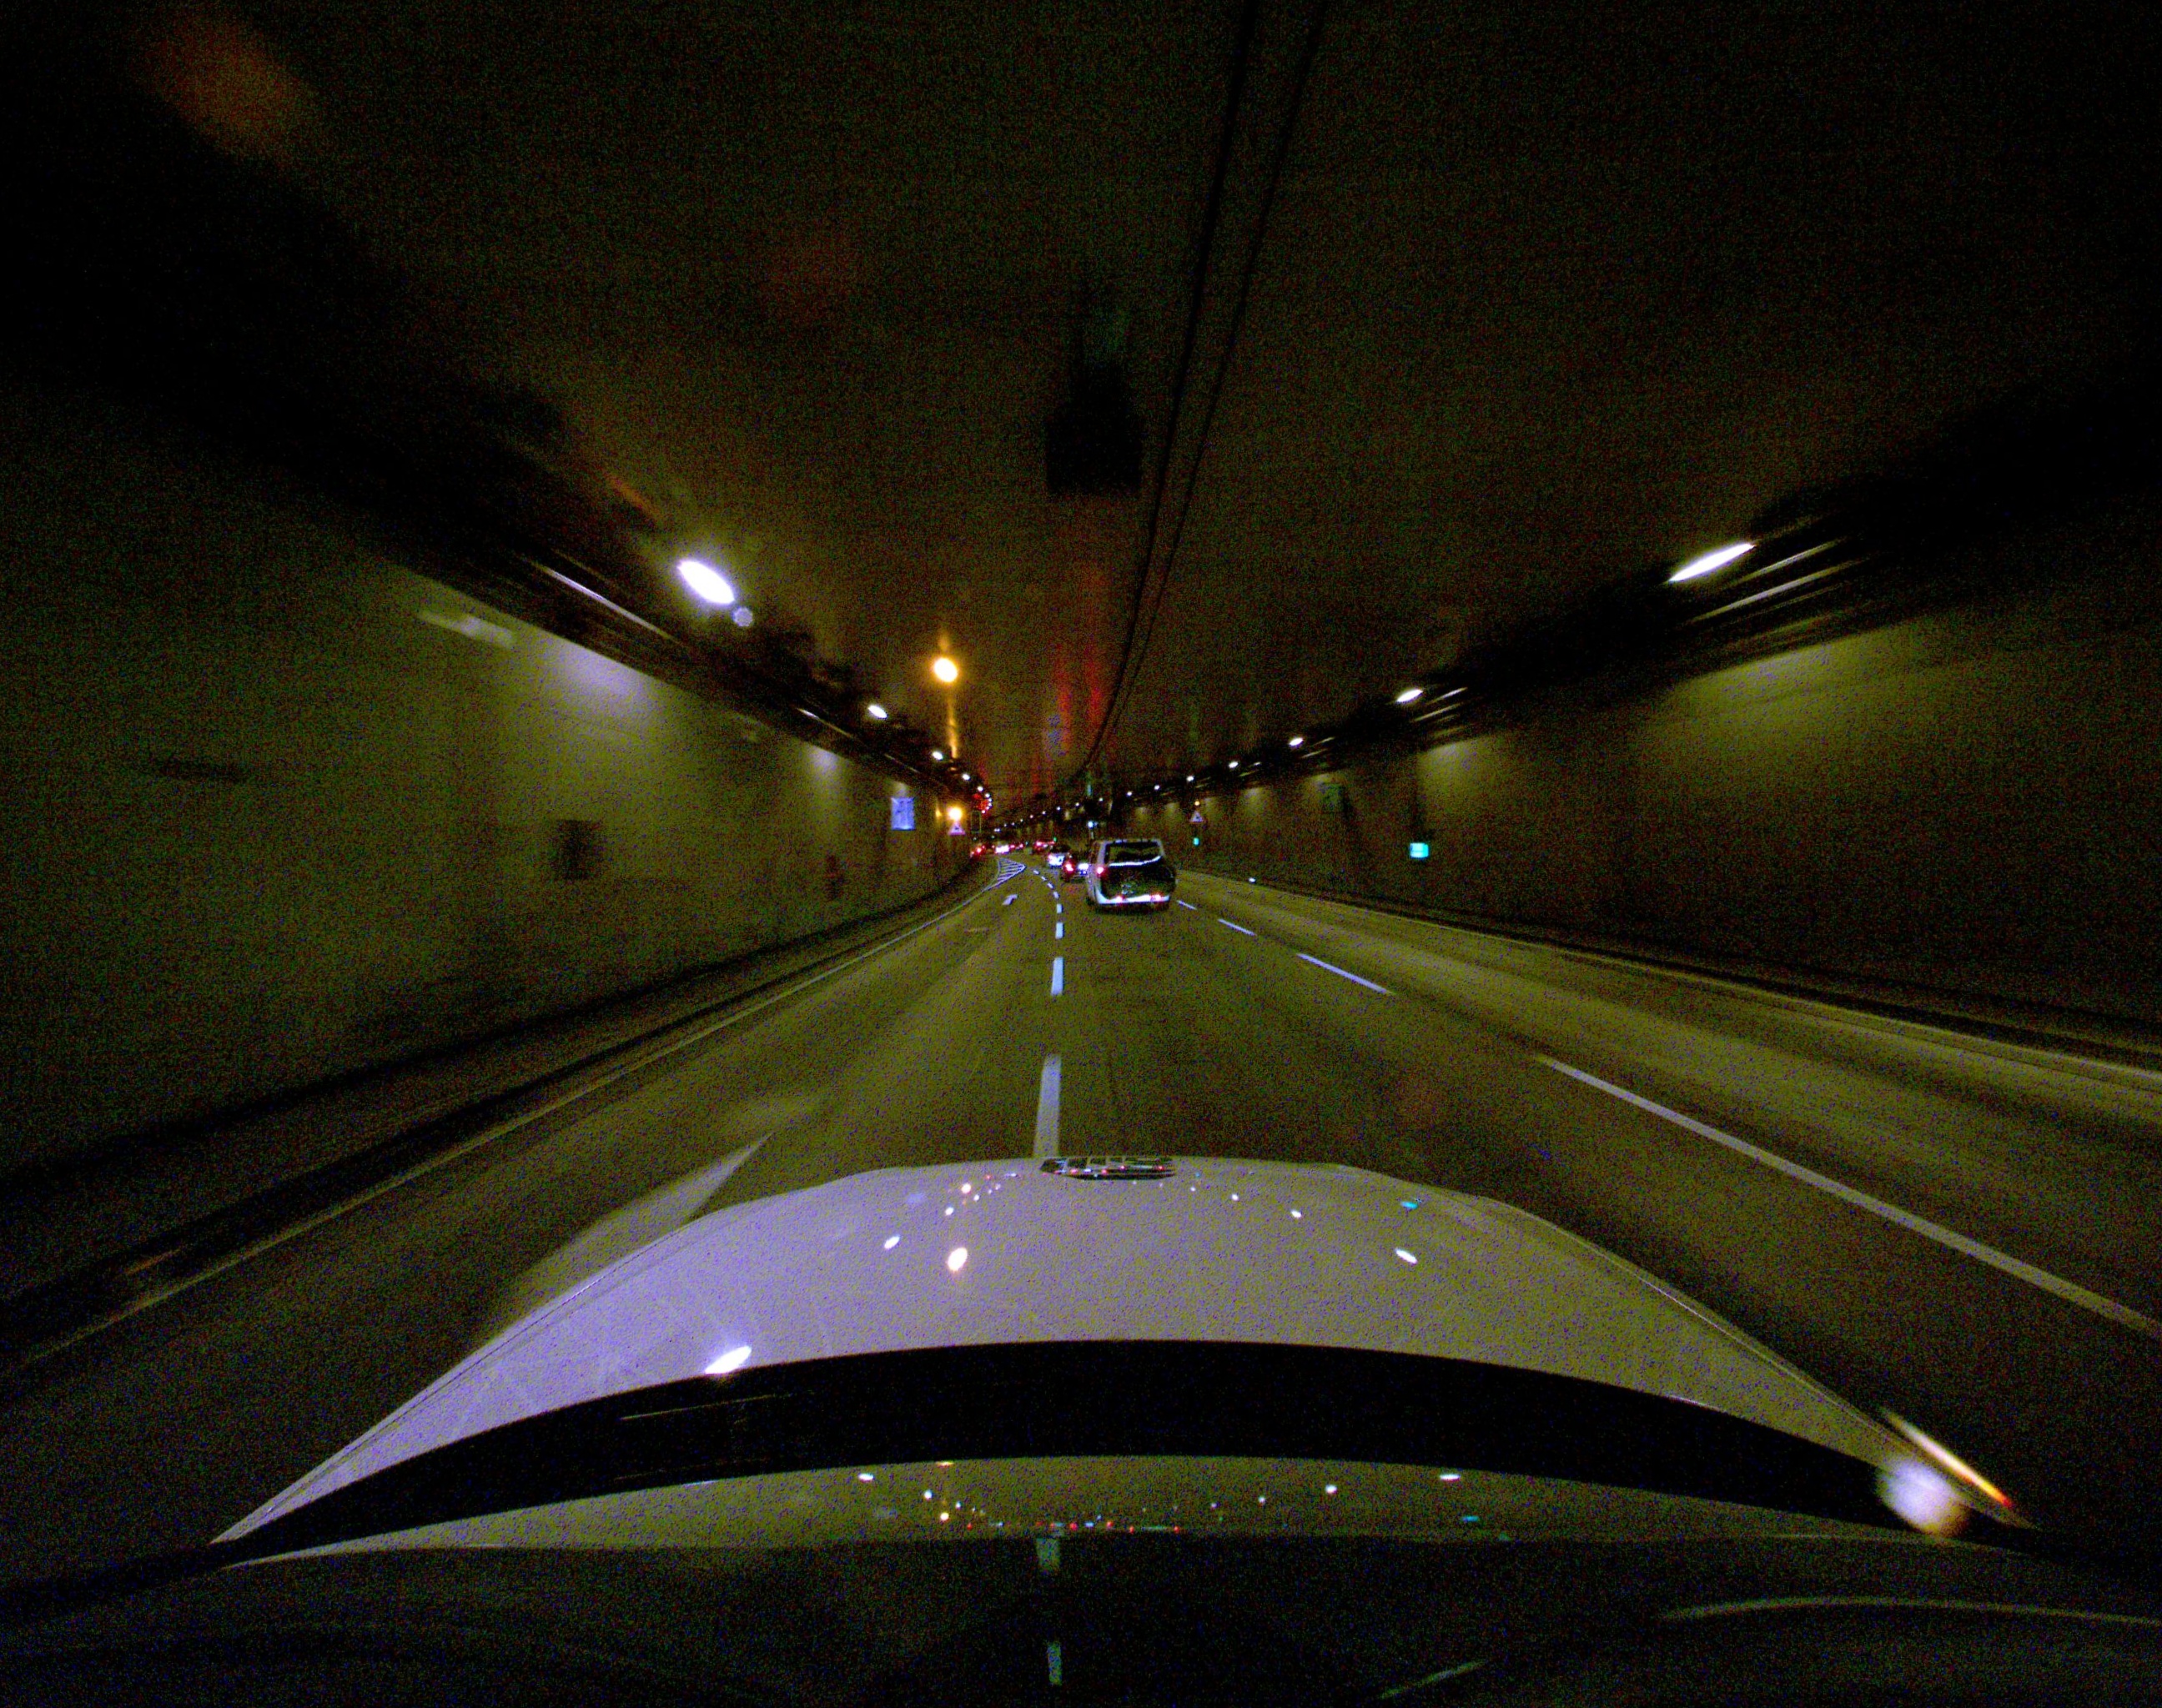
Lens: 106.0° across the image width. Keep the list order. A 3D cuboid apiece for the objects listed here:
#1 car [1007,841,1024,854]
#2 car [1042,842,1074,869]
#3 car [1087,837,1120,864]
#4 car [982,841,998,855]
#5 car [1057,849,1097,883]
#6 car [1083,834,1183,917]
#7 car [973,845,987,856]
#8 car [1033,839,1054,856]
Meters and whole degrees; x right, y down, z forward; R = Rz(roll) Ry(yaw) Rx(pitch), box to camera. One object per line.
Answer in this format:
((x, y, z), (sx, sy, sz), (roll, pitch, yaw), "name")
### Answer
((-8.464, -0.829, 105.175), (1.823, 1.630, 3.828), (0, -1, -12), "car")
((-1.490, 0.096, 50.687), (1.602, 1.594, 3.346), (-1, 0, -9), "car")
((1.495, -0.195, 55.961), (1.869, 1.761, 3.993), (0, -1, -5), "car")
((-11.585, -0.743, 104.042), (1.822, 1.630, 3.830), (0, -1, -10), "car")
((-0.216, 0.499, 36.737), (1.600, 1.395, 3.272), (-2, 1, -4), "car")
((1.222, 0.484, 21.534), (1.989, 1.847, 5.295), (-2, 0, -3), "car")
((-15.009, -0.503, 121.465), (1.823, 1.630, 3.829), (0, -1, -11), "car")
((-3.779, -0.656, 81.132), (1.604, 1.630, 3.341), (0, -1, -12), "car")
